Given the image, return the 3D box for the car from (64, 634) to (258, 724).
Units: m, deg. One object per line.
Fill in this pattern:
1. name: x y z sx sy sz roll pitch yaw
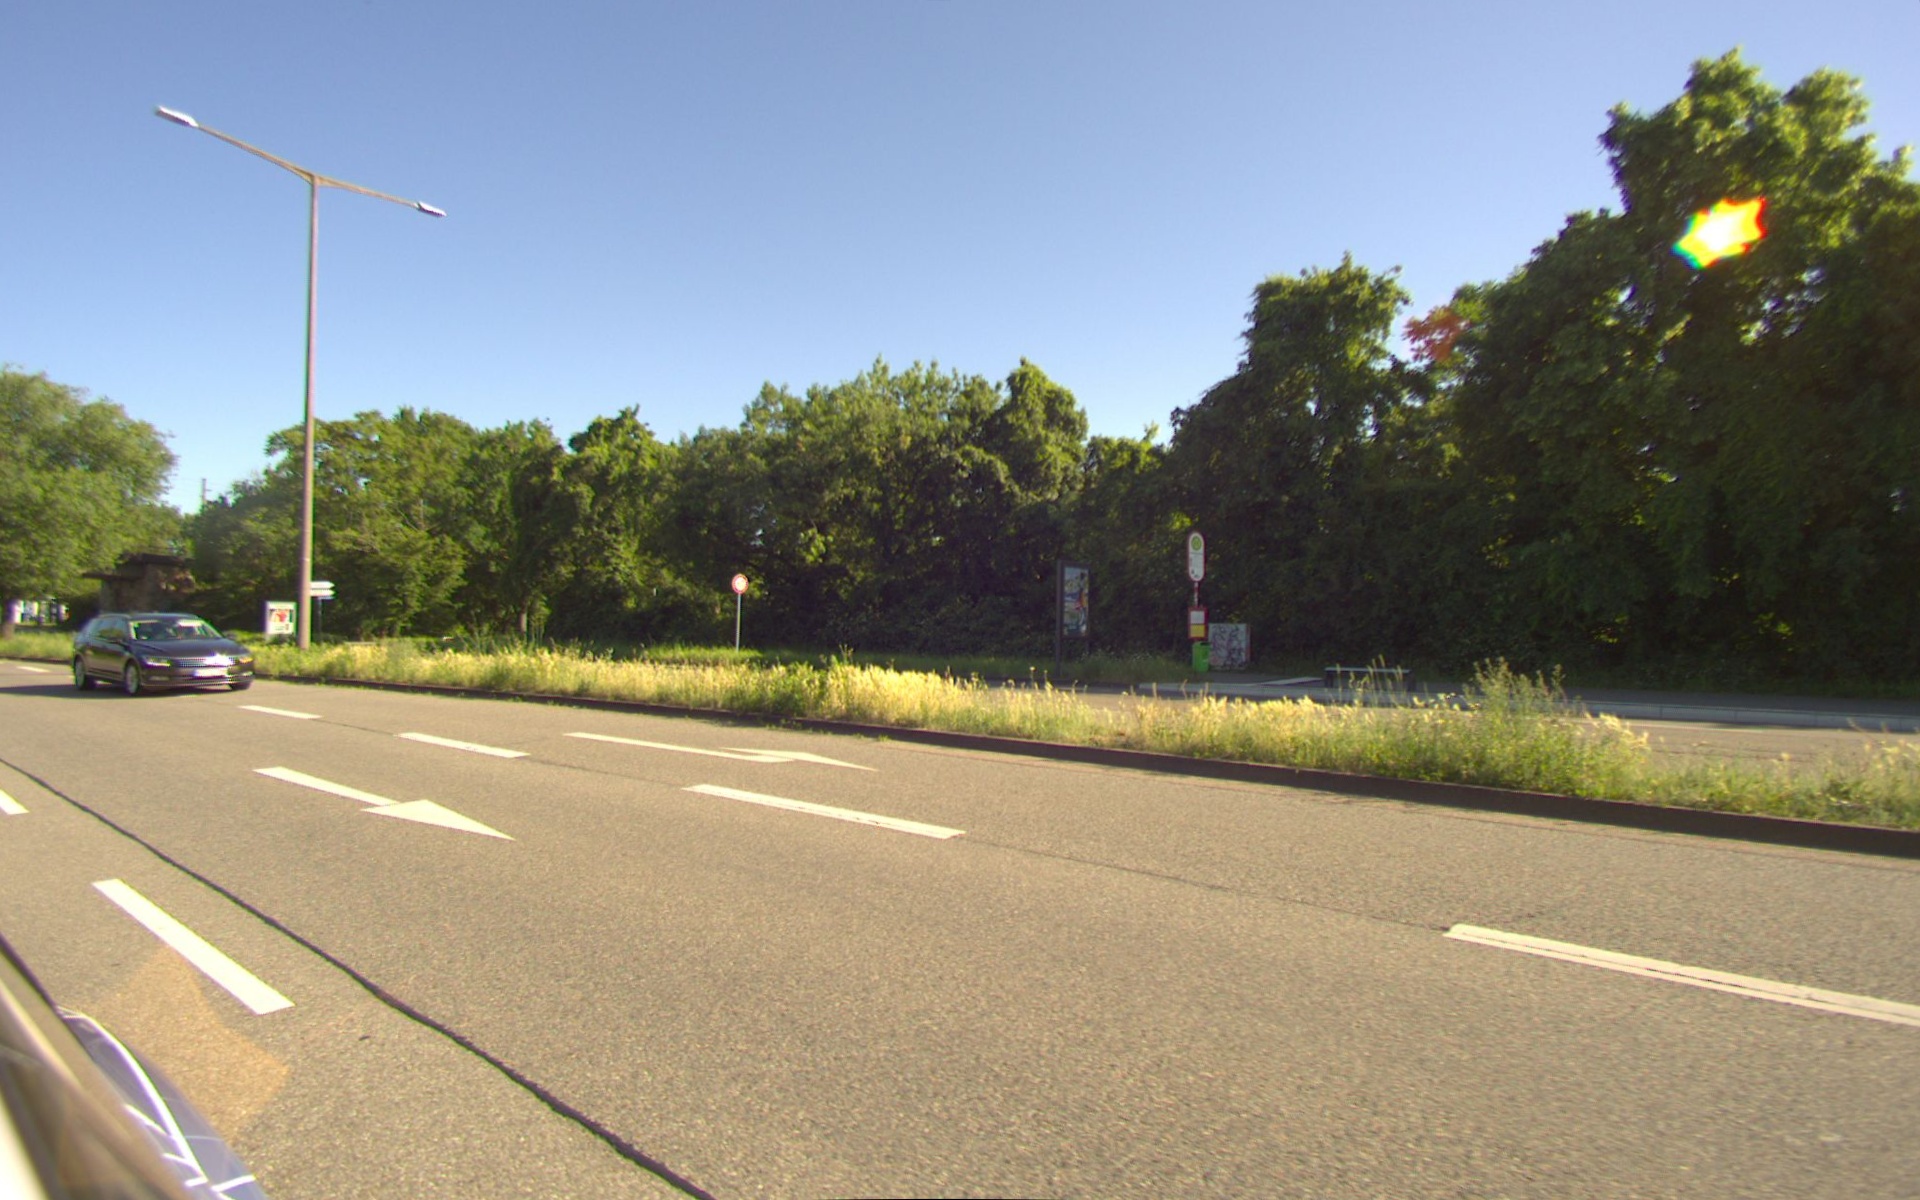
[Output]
1. car: -15.083 1.409 19.057 3.991 1.507 1.776 -2 -2 34
